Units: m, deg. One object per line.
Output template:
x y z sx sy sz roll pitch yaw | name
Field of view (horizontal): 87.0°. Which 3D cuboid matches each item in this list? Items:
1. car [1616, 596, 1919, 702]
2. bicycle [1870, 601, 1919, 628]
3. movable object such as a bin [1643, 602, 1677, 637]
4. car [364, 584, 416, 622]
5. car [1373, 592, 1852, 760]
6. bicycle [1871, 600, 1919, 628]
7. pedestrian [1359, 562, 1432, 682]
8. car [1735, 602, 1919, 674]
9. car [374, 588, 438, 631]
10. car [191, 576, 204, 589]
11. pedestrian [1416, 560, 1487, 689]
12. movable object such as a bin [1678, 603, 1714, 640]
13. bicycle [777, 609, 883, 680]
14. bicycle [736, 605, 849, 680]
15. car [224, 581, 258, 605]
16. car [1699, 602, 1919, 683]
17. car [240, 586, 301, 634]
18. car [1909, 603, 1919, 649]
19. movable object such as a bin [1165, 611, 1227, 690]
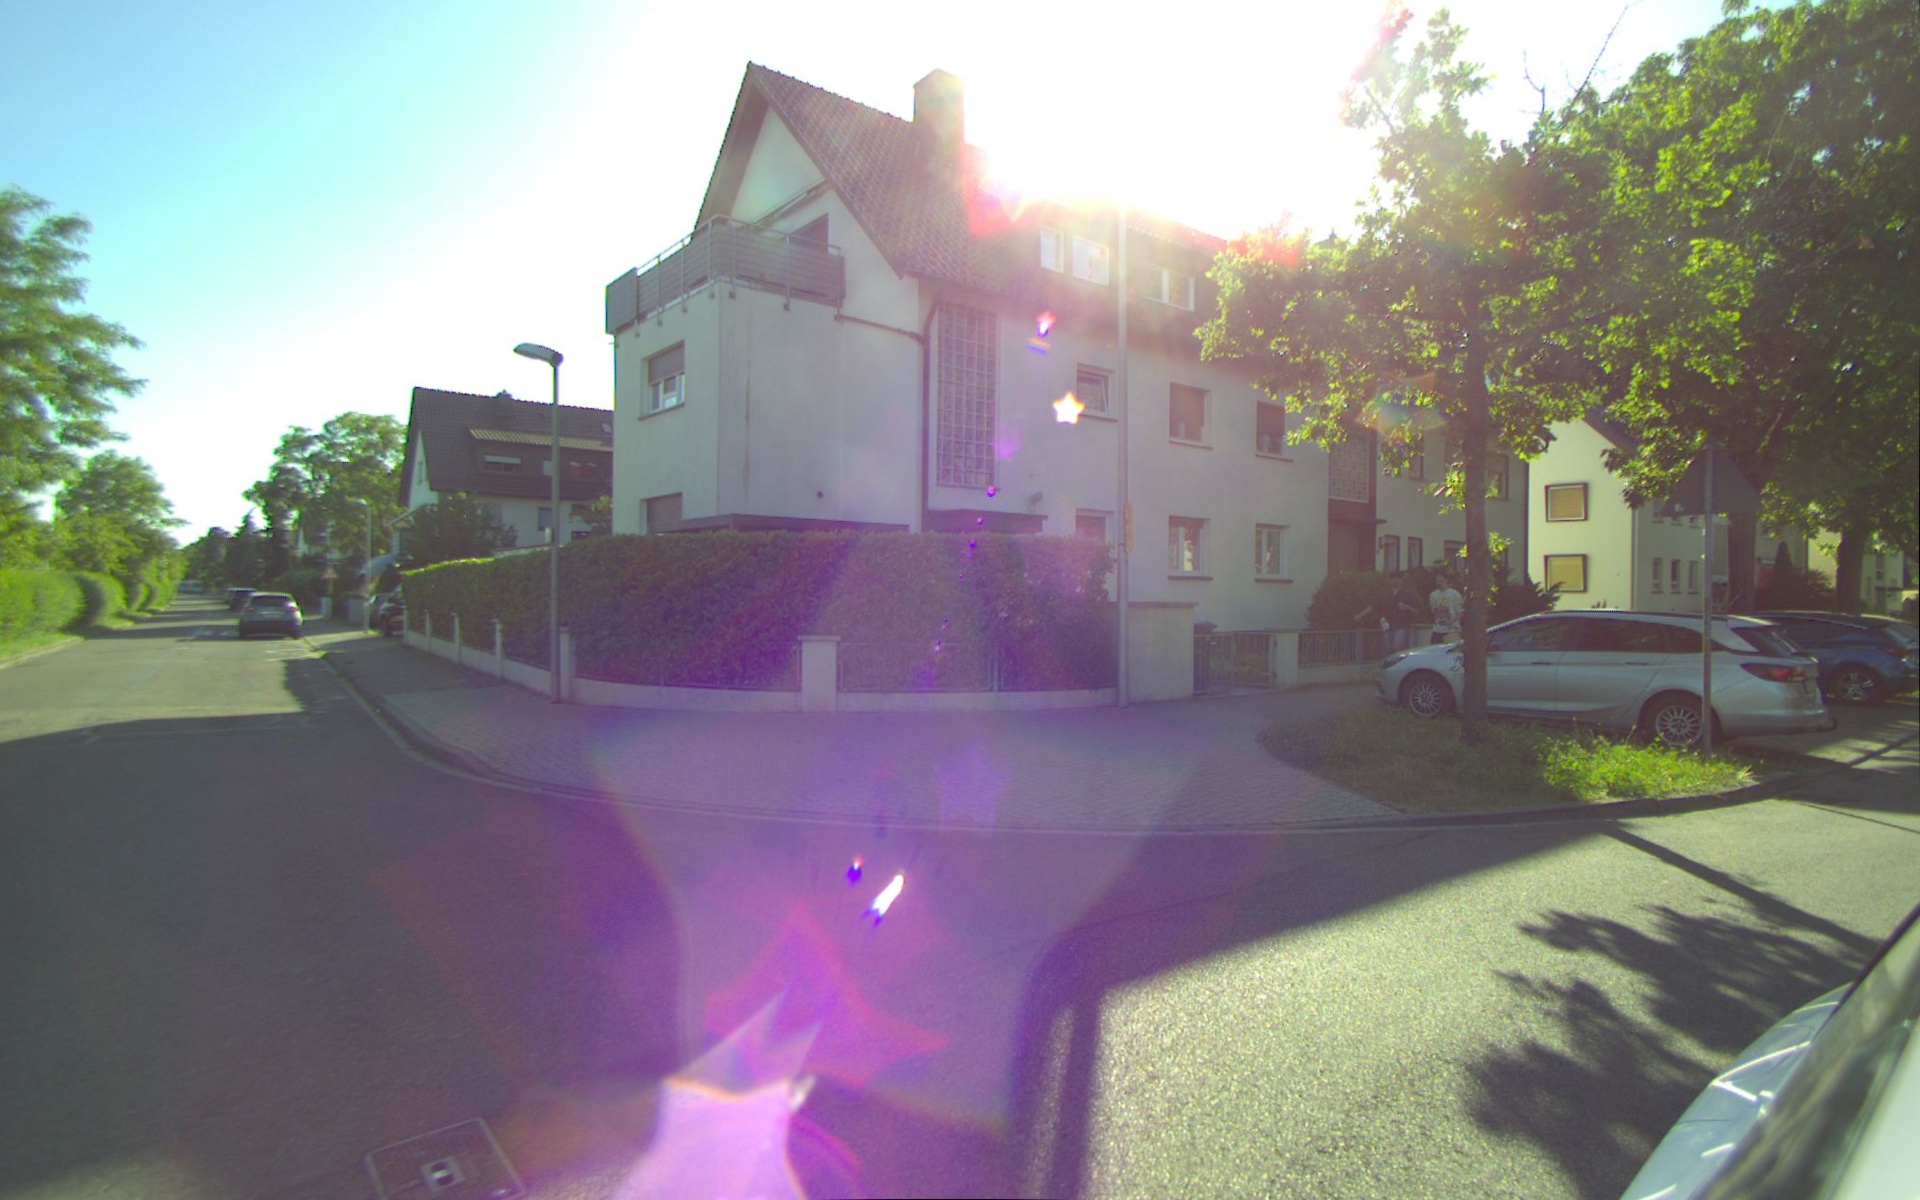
14.020 0.730 17.361 1.763 1.522 4.289 0 1 -37 | car
46.586 0.708 49.611 0.459 1.252 2.868 1 2 -35 | bicycle
23.055 0.643 33.334 0.890 1.112 0.705 -1 1 -38 | movable object such as a bin
-23.129 0.082 41.014 1.612 1.443 4.002 -1 1 -33 | car
7.433 0.718 11.930 1.765 1.510 4.436 0 1 -41 | car
46.951 0.707 49.938 0.459 1.252 2.869 -1 3 -35 | bicycle
6.952 0.331 16.158 0.697 1.851 0.837 -1 1 -37 | pedestrian
20.082 0.804 22.376 1.839 1.379 4.358 0 2 -37 | car
-18.646 0.284 33.979 1.612 1.305 3.785 -1 1 -33 | car
-143.258 -3.327 190.158 1.964 2.328 5.043 -1 1 -38 | car
7.453 0.342 15.353 0.906 1.896 0.610 -1 1 -36 | pedestrian
23.714 0.687 32.609 0.890 1.125 0.705 -1 1 -38 | movable object such as a bin
-2.120 0.707 16.497 1.653 1.067 0.529 1 1 21 | bicycle
-2.557 0.630 15.431 1.653 1.067 0.529 1 1 21 | bicycle
-52.717 -0.549 74.221 1.962 1.727 4.000 -1 1 -35 | car
17.826 0.813 20.553 1.766 1.432 4.282 0 1 -42 | car
-24.103 0.303 35.407 1.672 1.549 4.001 -1 1 -34 | car
34.298 0.925 33.548 1.630 1.535 3.894 -1 1 -36 | car
3.330 0.699 14.298 0.687 1.058 0.535 0 1 -40 | movable object such as a bin
